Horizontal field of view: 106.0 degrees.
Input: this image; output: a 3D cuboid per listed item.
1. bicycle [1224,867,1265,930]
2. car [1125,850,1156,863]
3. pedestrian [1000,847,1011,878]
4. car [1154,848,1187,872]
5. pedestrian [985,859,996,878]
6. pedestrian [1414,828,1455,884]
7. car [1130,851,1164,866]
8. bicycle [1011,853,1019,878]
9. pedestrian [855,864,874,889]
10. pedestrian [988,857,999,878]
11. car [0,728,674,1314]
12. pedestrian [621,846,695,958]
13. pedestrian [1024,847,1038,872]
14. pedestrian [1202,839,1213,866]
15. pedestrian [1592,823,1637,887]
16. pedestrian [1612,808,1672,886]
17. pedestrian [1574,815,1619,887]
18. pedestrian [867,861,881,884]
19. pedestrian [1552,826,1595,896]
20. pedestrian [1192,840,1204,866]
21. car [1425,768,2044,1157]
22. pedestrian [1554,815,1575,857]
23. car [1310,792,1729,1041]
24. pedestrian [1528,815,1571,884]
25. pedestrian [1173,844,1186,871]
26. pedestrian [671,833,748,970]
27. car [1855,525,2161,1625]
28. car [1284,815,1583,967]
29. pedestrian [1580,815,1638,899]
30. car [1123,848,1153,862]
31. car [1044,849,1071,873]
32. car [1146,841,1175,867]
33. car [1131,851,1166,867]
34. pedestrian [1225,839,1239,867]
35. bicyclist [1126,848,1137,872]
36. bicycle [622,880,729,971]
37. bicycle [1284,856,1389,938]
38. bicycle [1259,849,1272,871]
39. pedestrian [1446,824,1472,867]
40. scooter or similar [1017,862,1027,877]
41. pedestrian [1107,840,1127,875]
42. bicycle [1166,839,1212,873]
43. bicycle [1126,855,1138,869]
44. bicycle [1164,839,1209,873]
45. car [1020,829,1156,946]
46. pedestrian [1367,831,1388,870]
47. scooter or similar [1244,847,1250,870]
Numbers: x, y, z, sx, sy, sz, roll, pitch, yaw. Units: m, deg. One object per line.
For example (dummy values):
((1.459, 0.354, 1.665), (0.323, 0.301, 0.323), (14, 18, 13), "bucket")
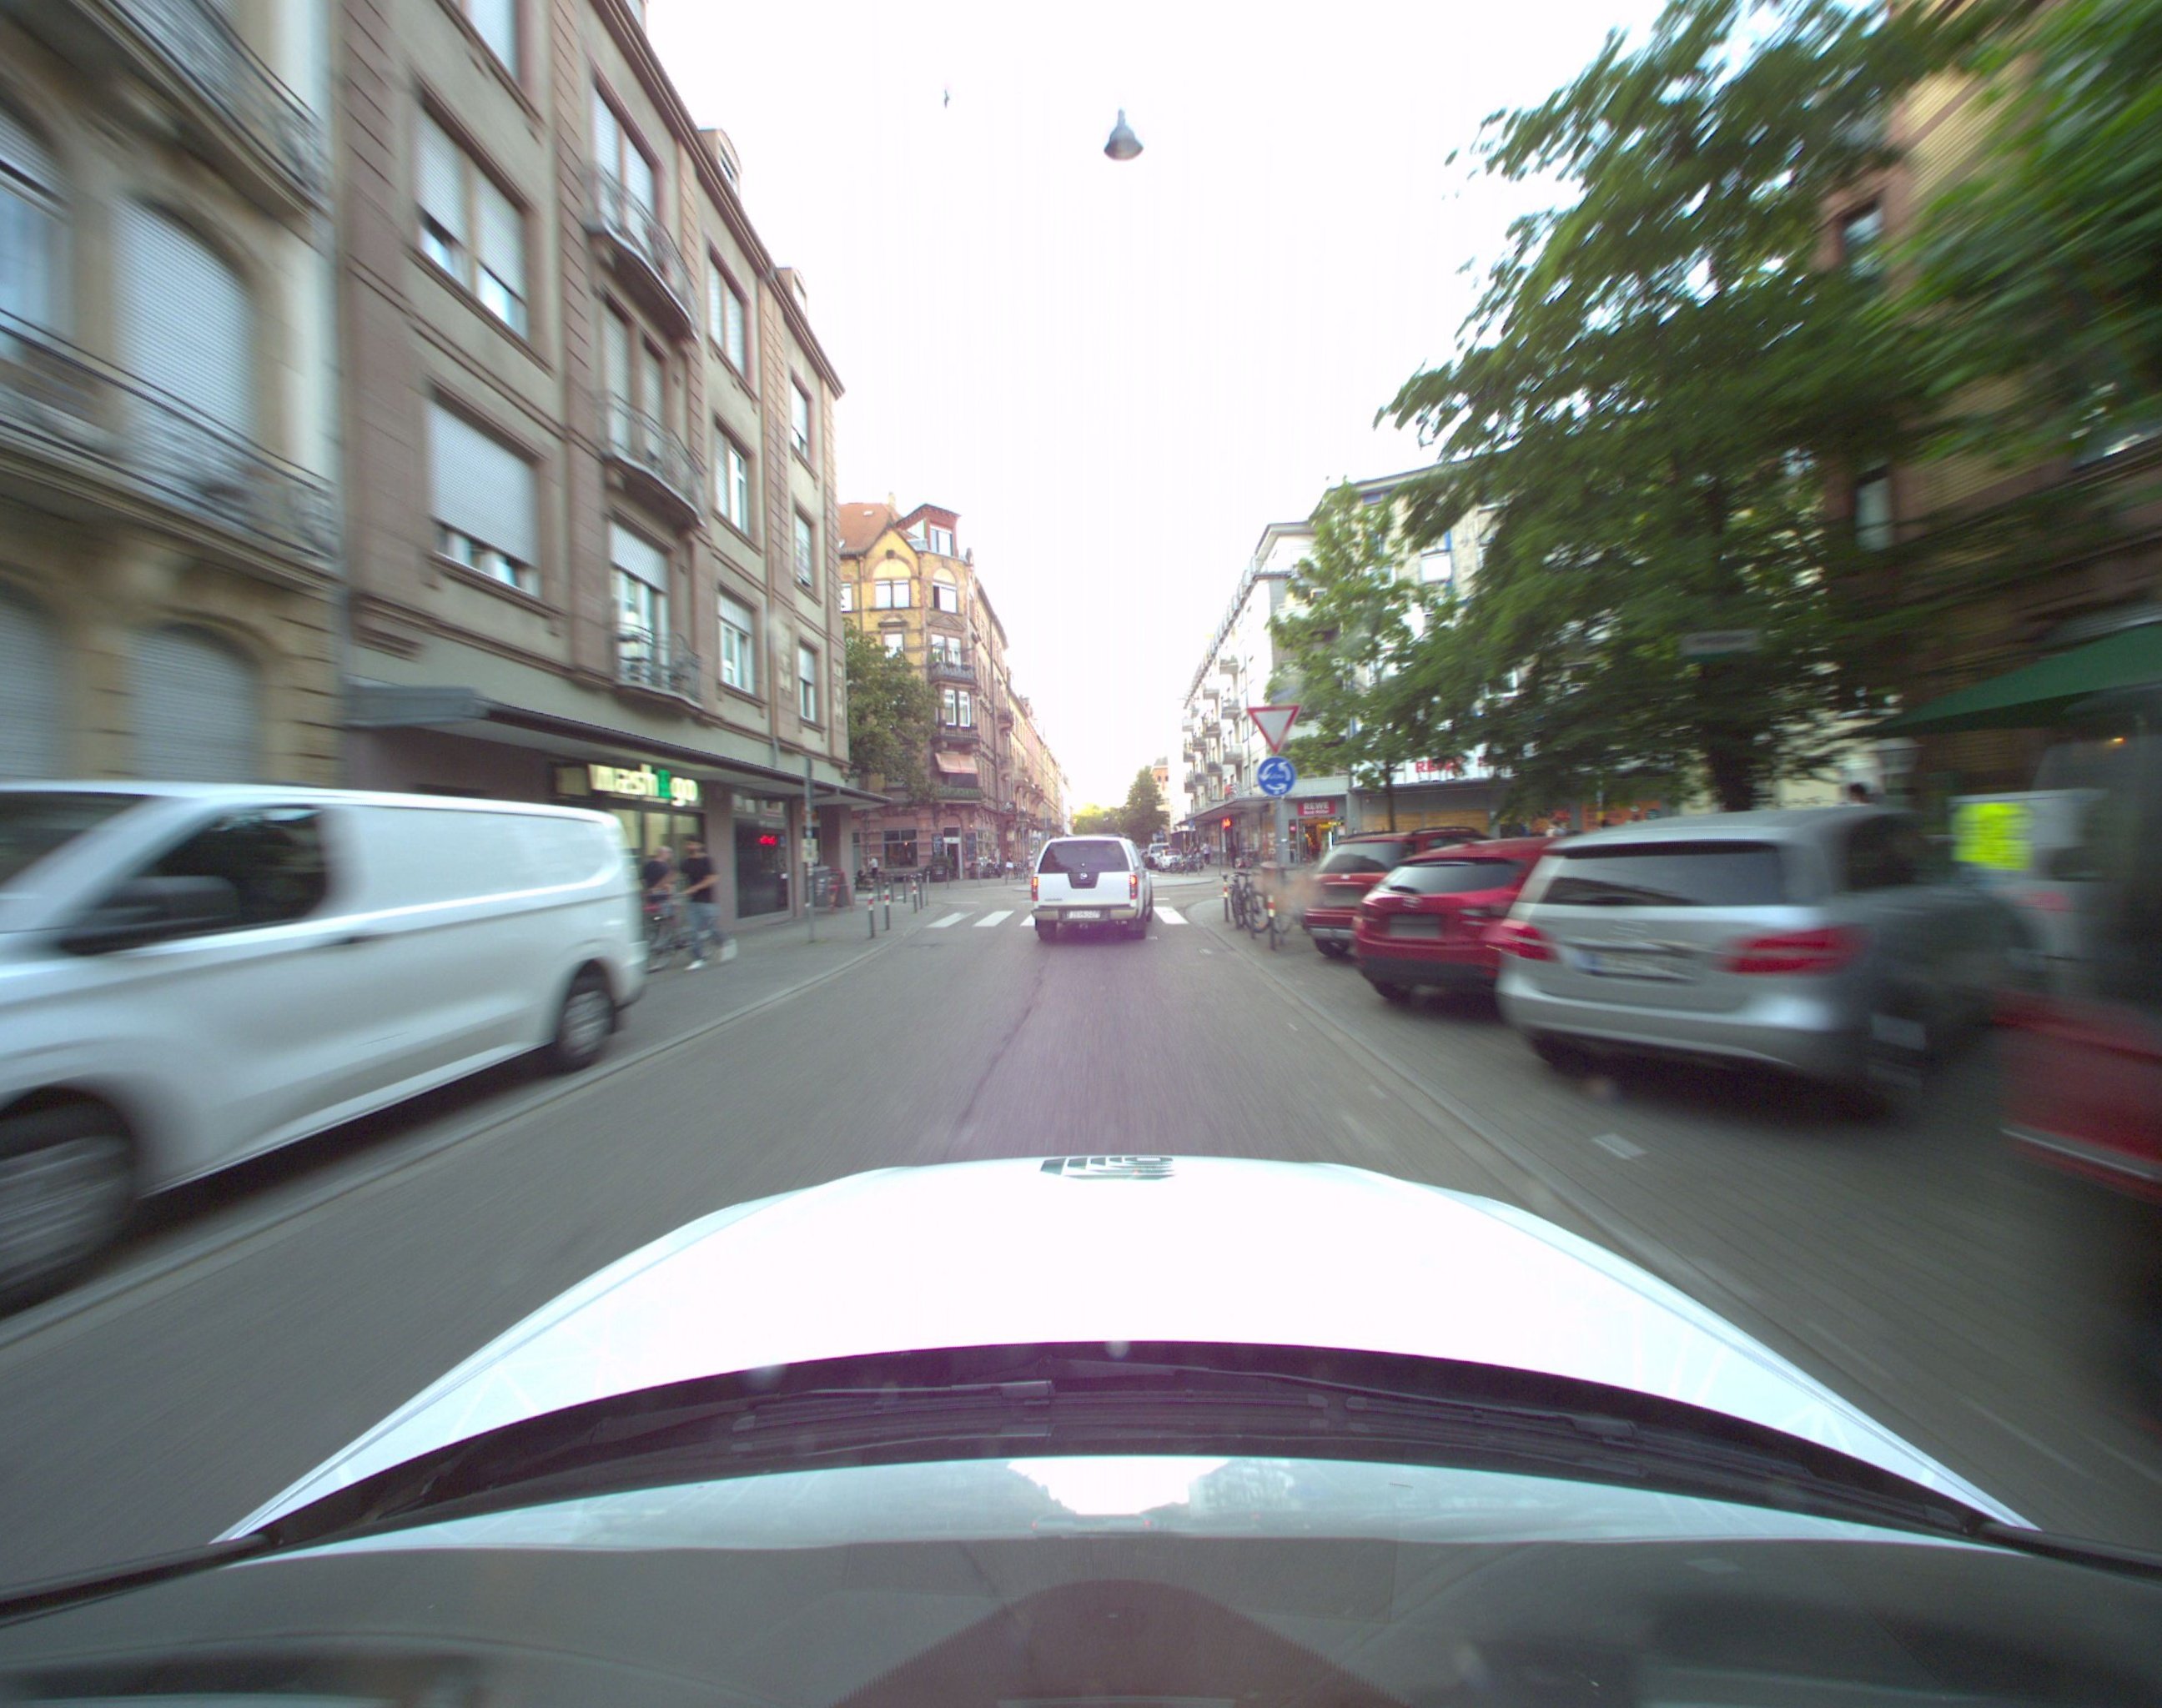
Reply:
((2.930, 0.772, 14.711), (0.363, 1.063, 1.551), (-1, -1, -2), "bicycle")
((7.918, 0.346, 107.831), (3.973, 1.750, 1.841), (-1, -1, 0), "car")
((-4.503, 0.507, 48.864), (0.505, 1.840, 0.569), (0, -1, -21), "pedestrian")
((6.083, 0.422, 55.642), (1.828, 1.542, 4.001), (-1, -1, 1), "car")
((-5.558, 0.886, 50.040), (0.647, 1.191, 0.539), (-1, -1, -2), "pedestrian")
((11.575, 0.069, 26.697), (0.864, 1.770, 0.947), (-1, -1, -3), "pedestrian")
((7.949, 0.593, 97.981), (3.973, 1.750, 1.841), (-1, -1, 0), "car")
((-3.959, 0.688, 49.039), (0.423, 1.442, 1.902), (-1, -1, -3), "bicycle")
((-10.961, 1.143, 41.250), (0.751, 1.262, 0.668), (-1, -1, 1), "pedestrian")
((-5.491, 0.847, 51.225), (0.647, 1.286, 0.539), (-1, -1, -2), "pedestrian")
((-4.598, 0.576, 4.482), (2.102, 1.921, 5.025), (-2, 0, 0), "car")
((-6.573, 0.724, 12.679), (0.706, 1.678, 0.737), (-1, 0, 5), "pedestrian")
((-3.217, 0.360, 52.327), (0.795, 1.621, 0.944), (-1, -1, -1), "pedestrian")
((9.097, -0.124, 58.661), (0.717, 1.906, 0.703), (-1, -1, 2), "pedestrian")
((10.809, 0.021, 16.512), (0.542, 1.269, 0.574), (-1, -1, 2), "pedestrian")
((13.644, -0.167, 19.825), (0.832, 1.828, 0.867), (-1, -1, -4), "pedestrian")
((12.698, -0.068, 20.053), (0.826, 1.723, 0.874), (-1, -1, 39), "pedestrian")
((-11.225, 1.002, 44.195), (0.451, 1.262, 0.578), (-1, -1, 26), "pedestrian")
((9.873, 0.133, 16.339), (0.543, 1.380, 0.466), (-1, -1, -1), "pedestrian")
((7.608, -0.036, 52.957), (0.717, 1.663, 0.703), (-1, -1, 2), "pedestrian")
((4.545, 0.385, 5.512), (4.240, 1.622, 1.914), (-5, 1, -32), "car")
((18.811, -0.684, 31.672), (0.658, 1.601, 0.722), (-1, -1, 31), "pedestrian")
((4.414, 0.394, 7.950), (4.244, 1.688, 1.912), (-5, 1, -37), "car")
((12.877, -0.115, 22.407), (0.858, 1.828, 0.841), (-1, -1, 19), "pedestrian")
((6.106, 0.233, 50.295), (0.717, 1.663, 0.703), (-1, -1, 2), "pedestrian")
((-5.164, 0.635, 11.375), (0.534, 1.823, 0.998), (-1, -1, 5), "pedestrian")
((4.532, 0.216, 2.676), (5.463, 2.072, 1.912), (-5, 1, -37), "car")
((4.935, 0.395, 11.278), (4.062, 1.627, 1.676), (-4, 1, -30), "car")
((9.052, 0.046, 13.981), (0.637, 1.409, 0.512), (-1, -1, -11), "pedestrian")
((7.792, 0.157, 110.801), (3.973, 1.750, 1.841), (-1, -1, 0), "car")
((-1.772, 0.566, 62.088), (1.828, 1.750, 4.001), (-1, -1, 1), "car")
((6.228, 0.032, 64.427), (1.936, 1.934, 4.001), (-1, -1, 1), "car")
((7.934, 0.575, 95.742), (3.973, 1.750, 1.841), (-1, -1, 0), "car")
((8.961, -0.048, 48.427), (0.717, 1.663, 0.703), (-1, -1, 2), "pedestrian")
((4.209, 0.495, 67.535), (0.833, 1.944, 0.786), (-1, -1, 8), "bicyclist")
((-5.682, 0.959, 11.521), (0.469, 1.142, 1.787), (-1, -1, 5), "bicycle")
((3.993, 0.656, 12.742), (1.549, 1.161, 0.363), (-3, 0, -13), "bicycle")
((9.539, 0.308, 42.207), (0.289, 1.112, 0.963), (-1, -1, -11), "bicycle")
((15.583, -0.339, 33.576), (0.725, 1.726, 0.659), (0, -1, -37), "pedestrian")
((-3.709, 1.004, 51.304), (0.234, 0.929, 1.256), (0, -1, -23), "scooter or similar")
((1.949, 0.183, 44.024), (0.909, 1.885, 0.610), (0, -1, -29), "pedestrian")
((6.362, 0.120, 48.157), (2.636, 2.014, 0.638), (-1, -1, 2), "bicycle")
((4.219, 0.660, 67.451), (0.833, 1.171, 1.940), (-1, -1, 8), "bicycle")
((6.349, 0.127, 48.972), (2.636, 2.014, 0.638), (-1, -1, 2), "bicycle")
((0.329, 0.476, 15.374), (1.927, 1.810, 5.012), (-2, 1, 7), "car")
((12.826, -0.138, 35.242), (0.709, 1.652, 0.718), (-1, -1, 30), "pedestrian")
((9.447, 0.256, 46.357), (0.218, 1.237, 0.969), (-1, 1, 9), "scooter or similar")
